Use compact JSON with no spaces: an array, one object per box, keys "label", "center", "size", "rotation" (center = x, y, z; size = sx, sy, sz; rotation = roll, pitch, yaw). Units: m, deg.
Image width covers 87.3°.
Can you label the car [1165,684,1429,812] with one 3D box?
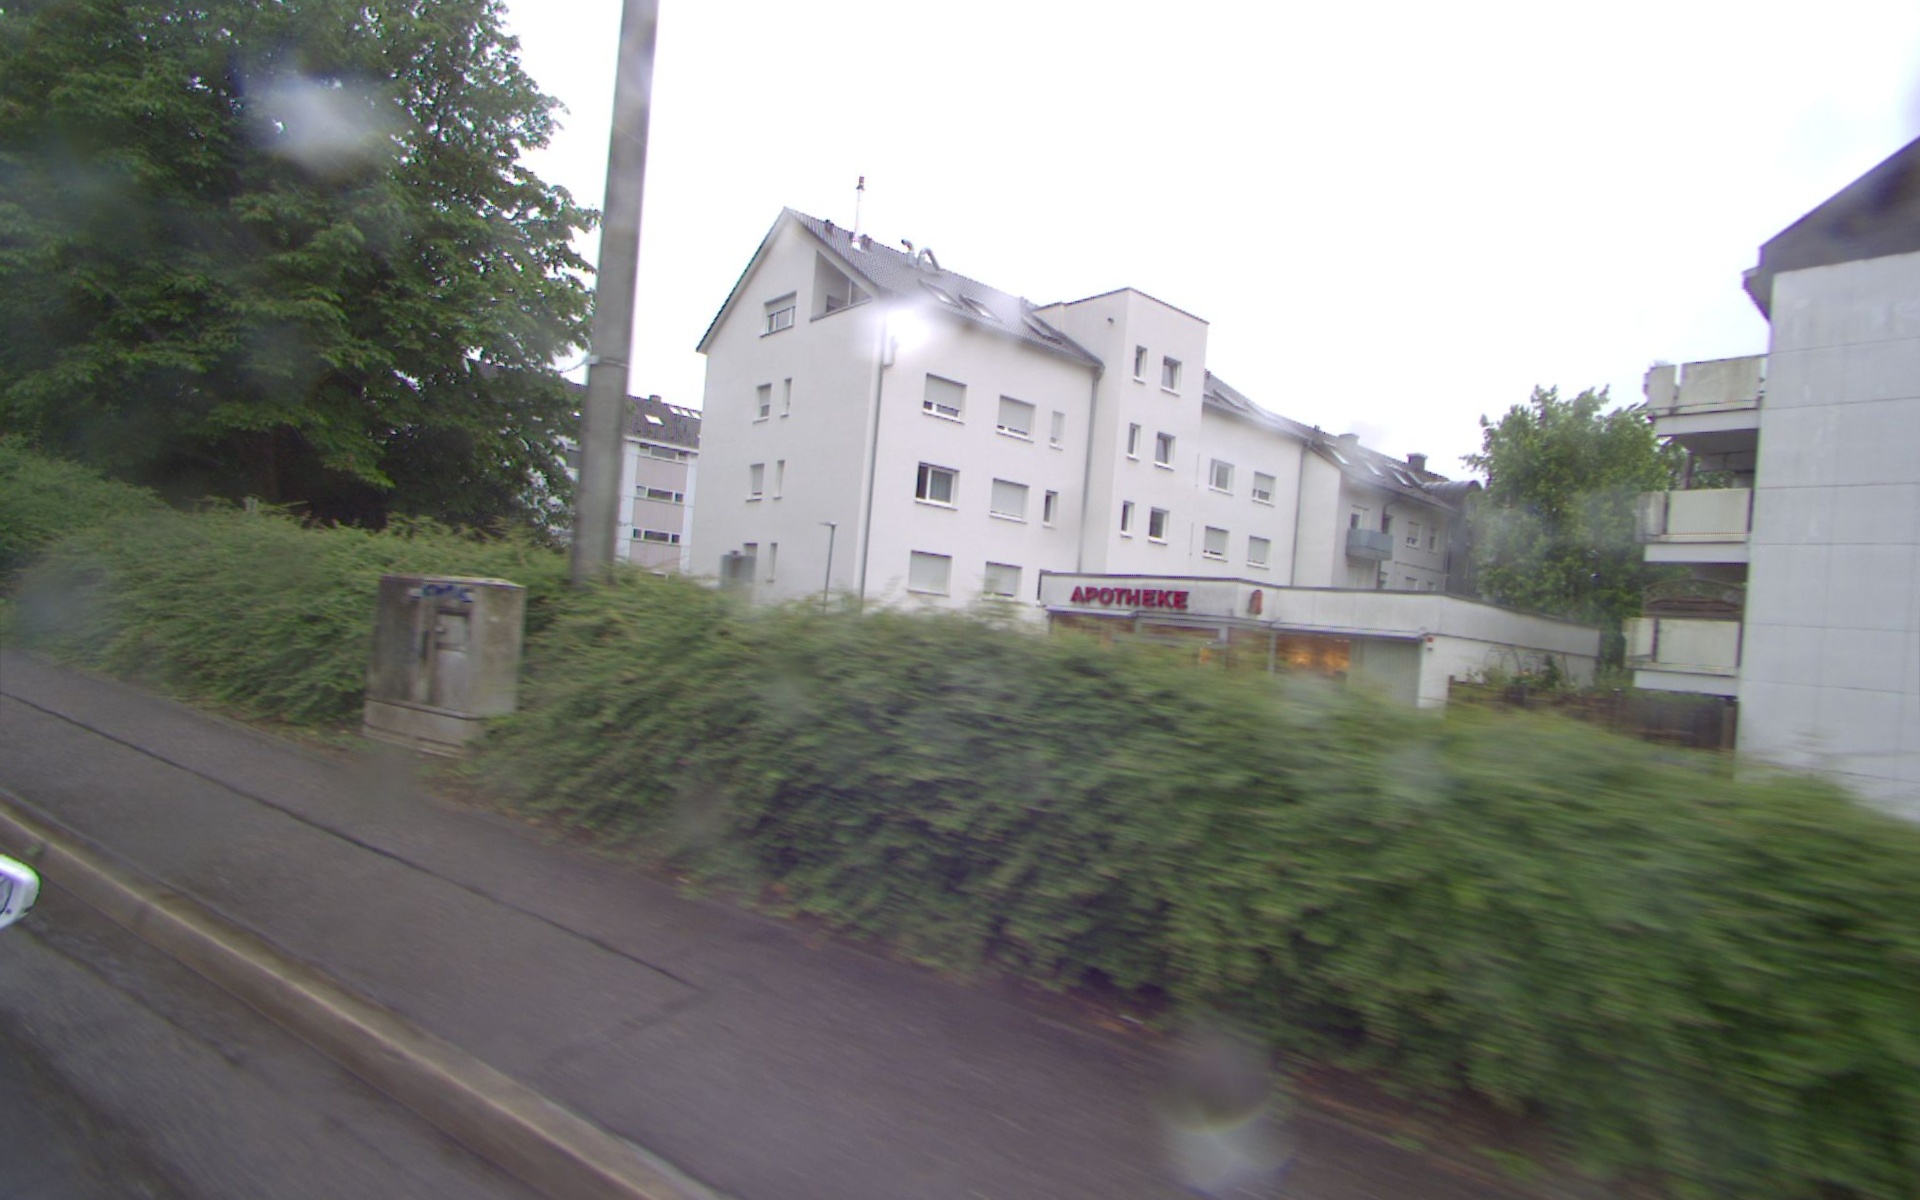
[{"label":"car","center":[5.964,2.570,17.994],"size":[3.940,1.480,1.919],"rotation":[7,-2,38]}]
